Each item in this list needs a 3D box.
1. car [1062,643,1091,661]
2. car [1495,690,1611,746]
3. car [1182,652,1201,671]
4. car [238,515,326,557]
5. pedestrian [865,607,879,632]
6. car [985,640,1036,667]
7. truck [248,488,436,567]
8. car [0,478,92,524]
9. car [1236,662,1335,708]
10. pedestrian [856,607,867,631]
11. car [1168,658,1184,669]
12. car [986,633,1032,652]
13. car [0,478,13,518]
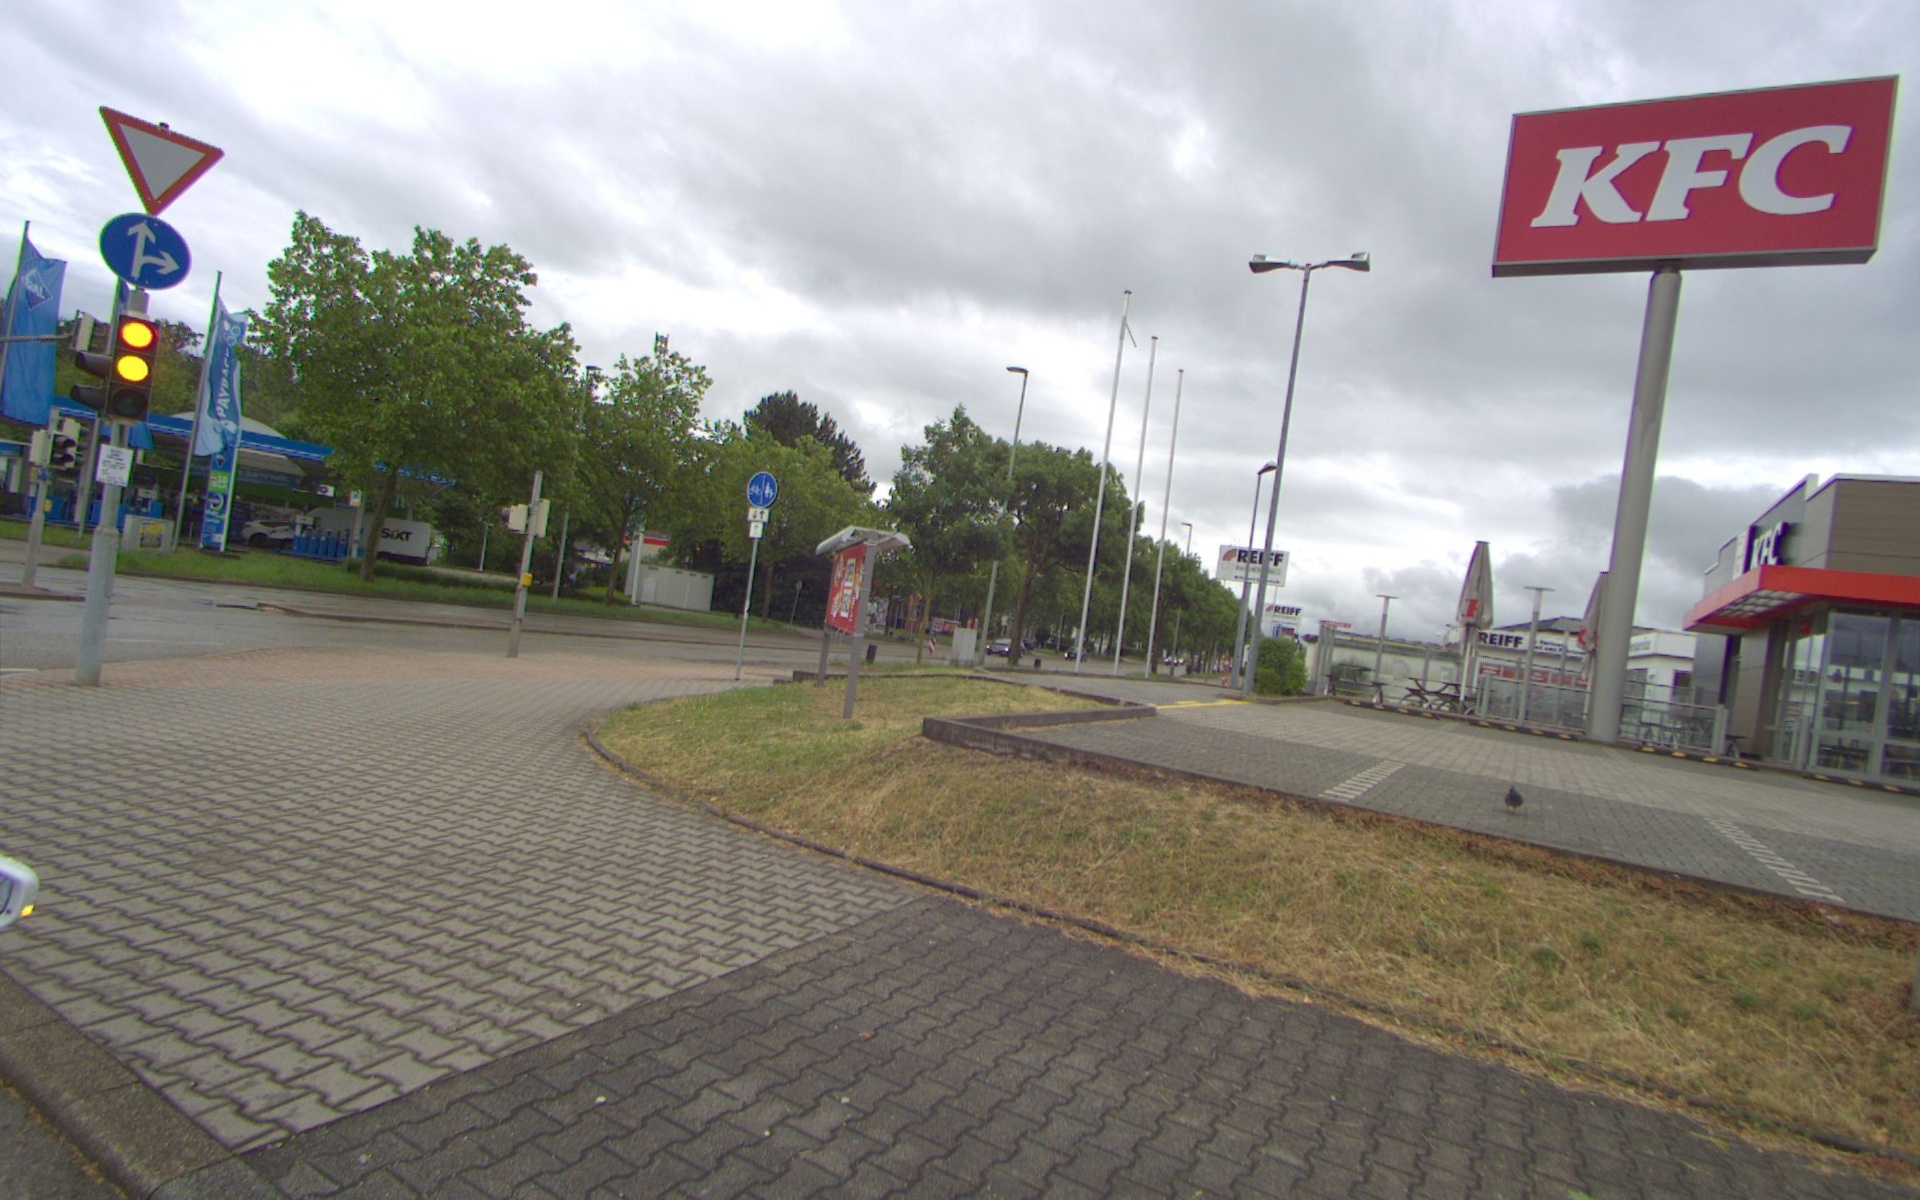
[{"bbox_3d":[11.479,5.118,99.130,1.619,1.526,3.893,6,-2,24],"label":"car"},{"bbox_3d":[24.634,4.874,41.973,3.931,1.699,1.956,7,-1,28],"label":"car"},{"bbox_3d":[28.779,7.638,124.924,1.718,2.037,4.002,7,-1,19],"label":"car"},{"bbox_3d":[-36.333,-3.396,53.992,3.523,1.600,1.679,10,-2,-27],"label":"car"},{"bbox_3d":[-6.695,1.503,76.523,0.657,1.788,0.580,8,0,42],"label":"pedestrian"},{"bbox_3d":[3.798,4.014,75.221,1.965,1.524,4.732,6,-4,26],"label":"car"},{"bbox_3d":[-31.383,-3.607,51.391,7.798,2.706,2.137,8,-1,-33],"label":"truck"},{"bbox_3d":[-48.086,-5.167,52.416,3.958,1.748,1.781,8,-1,-31],"label":"car"},{"bbox_3d":[15.609,4.067,48.226,4.115,1.570,1.888,7,-1,28],"label":"car"},{"bbox_3d":[-7.499,1.433,76.490,0.504,1.703,0.540,6,0,21],"label":"pedestrian"},{"bbox_3d":[34.986,10.281,162.680,1.784,1.579,4.602,7,-2,21],"label":"car"},{"bbox_3d":[5.342,4.628,109.412,4.639,1.525,2.004,6,-3,11],"label":"car"},{"bbox_3d":[-47.506,-5.101,47.103,4.082,1.828,1.933,8,-2,-28],"label":"car"}]
